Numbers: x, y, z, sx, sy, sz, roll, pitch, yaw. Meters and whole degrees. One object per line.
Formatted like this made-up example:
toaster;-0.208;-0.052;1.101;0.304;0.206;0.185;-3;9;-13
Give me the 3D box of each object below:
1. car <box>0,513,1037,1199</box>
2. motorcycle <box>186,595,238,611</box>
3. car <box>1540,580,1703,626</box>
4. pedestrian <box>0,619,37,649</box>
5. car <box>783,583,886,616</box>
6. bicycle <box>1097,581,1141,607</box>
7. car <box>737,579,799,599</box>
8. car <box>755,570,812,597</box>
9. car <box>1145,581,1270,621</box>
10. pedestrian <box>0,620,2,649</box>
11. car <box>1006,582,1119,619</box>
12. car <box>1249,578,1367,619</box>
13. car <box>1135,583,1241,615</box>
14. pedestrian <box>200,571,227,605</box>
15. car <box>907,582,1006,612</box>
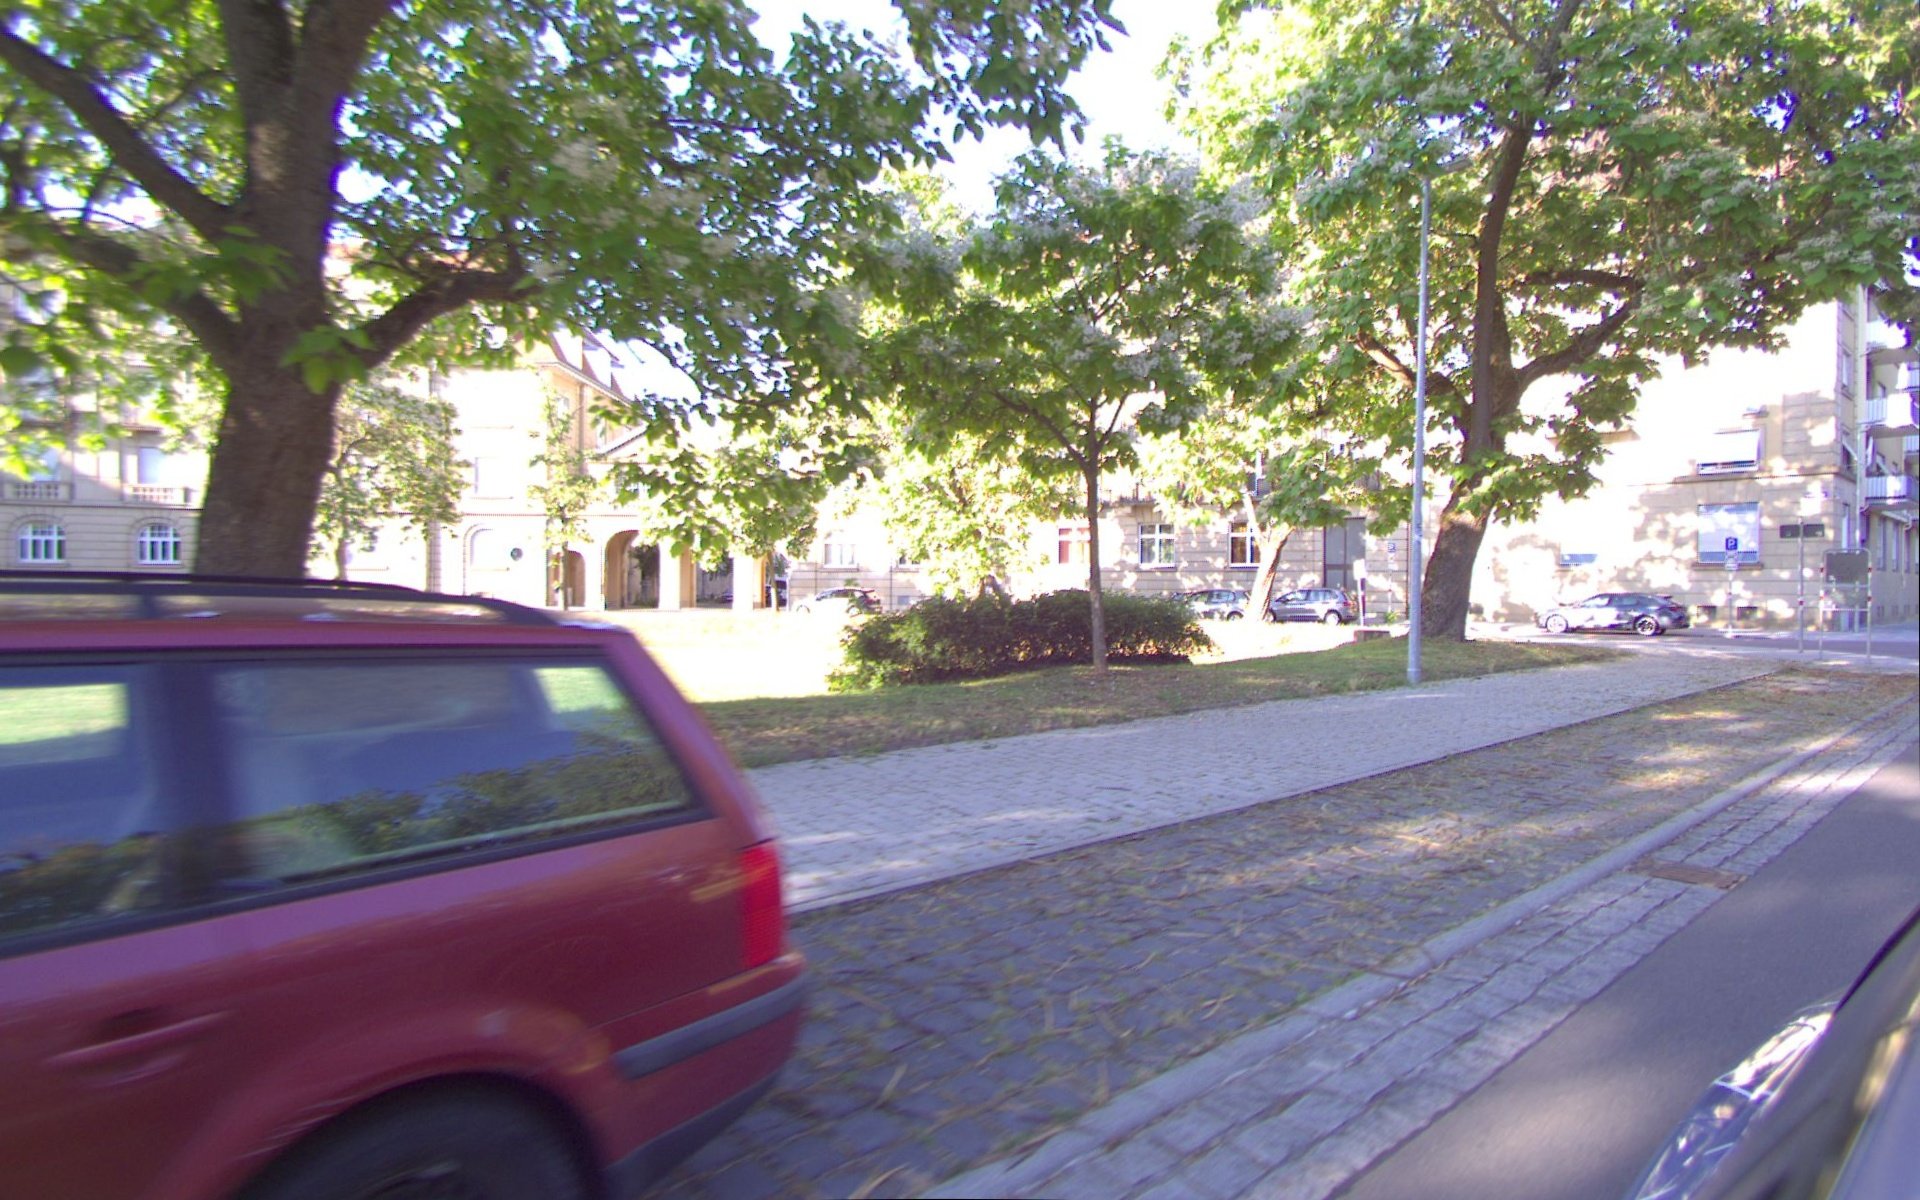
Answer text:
car;-2.121;0.630;1.703;4.726;1.504;1.681;-1;2;-41
motorcycle;-33.037;0.122;44.683;1.825;0.679;0.682;-1;2;-38
car;22.823;0.056;35.012;1.905;1.436;4.441;-1;2;-45
pedestrian;-29.122;1.036;31.262;0.664;0.892;0.578;-1;0;-3
car;-5.672;-0.044;45.859;4.317;1.435;1.808;0;1;21
bicycle;7.989;-0.314;50.861;2.102;1.245;0.609;1;1;26
car;-14.021;-0.793;74.158;4.284;1.435;1.822;0;1;-5
car;-14.032;-1.312;80.439;4.286;2.134;1.821;0;1;-3
car;9.434;-0.013;38.649;4.330;1.435;1.826;1;2;30
pedestrian;-29.497;1.058;30.526;0.664;0.892;0.578;-1;0;-3
car;4.180;-0.022;41.568;4.395;1.435;1.552;1;1;27
car;14.506;-0.108;42.240;4.420;1.619;1.782;1;2;33
car;10.130;-0.054;45.091;4.412;1.340;1.491;1;1;28
pedestrian;-32.983;-0.528;44.717;0.933;1.493;0.682;-1;1;-38
car;-0.169;-0.175;50.216;4.589;1.435;1.809;0;1;19
